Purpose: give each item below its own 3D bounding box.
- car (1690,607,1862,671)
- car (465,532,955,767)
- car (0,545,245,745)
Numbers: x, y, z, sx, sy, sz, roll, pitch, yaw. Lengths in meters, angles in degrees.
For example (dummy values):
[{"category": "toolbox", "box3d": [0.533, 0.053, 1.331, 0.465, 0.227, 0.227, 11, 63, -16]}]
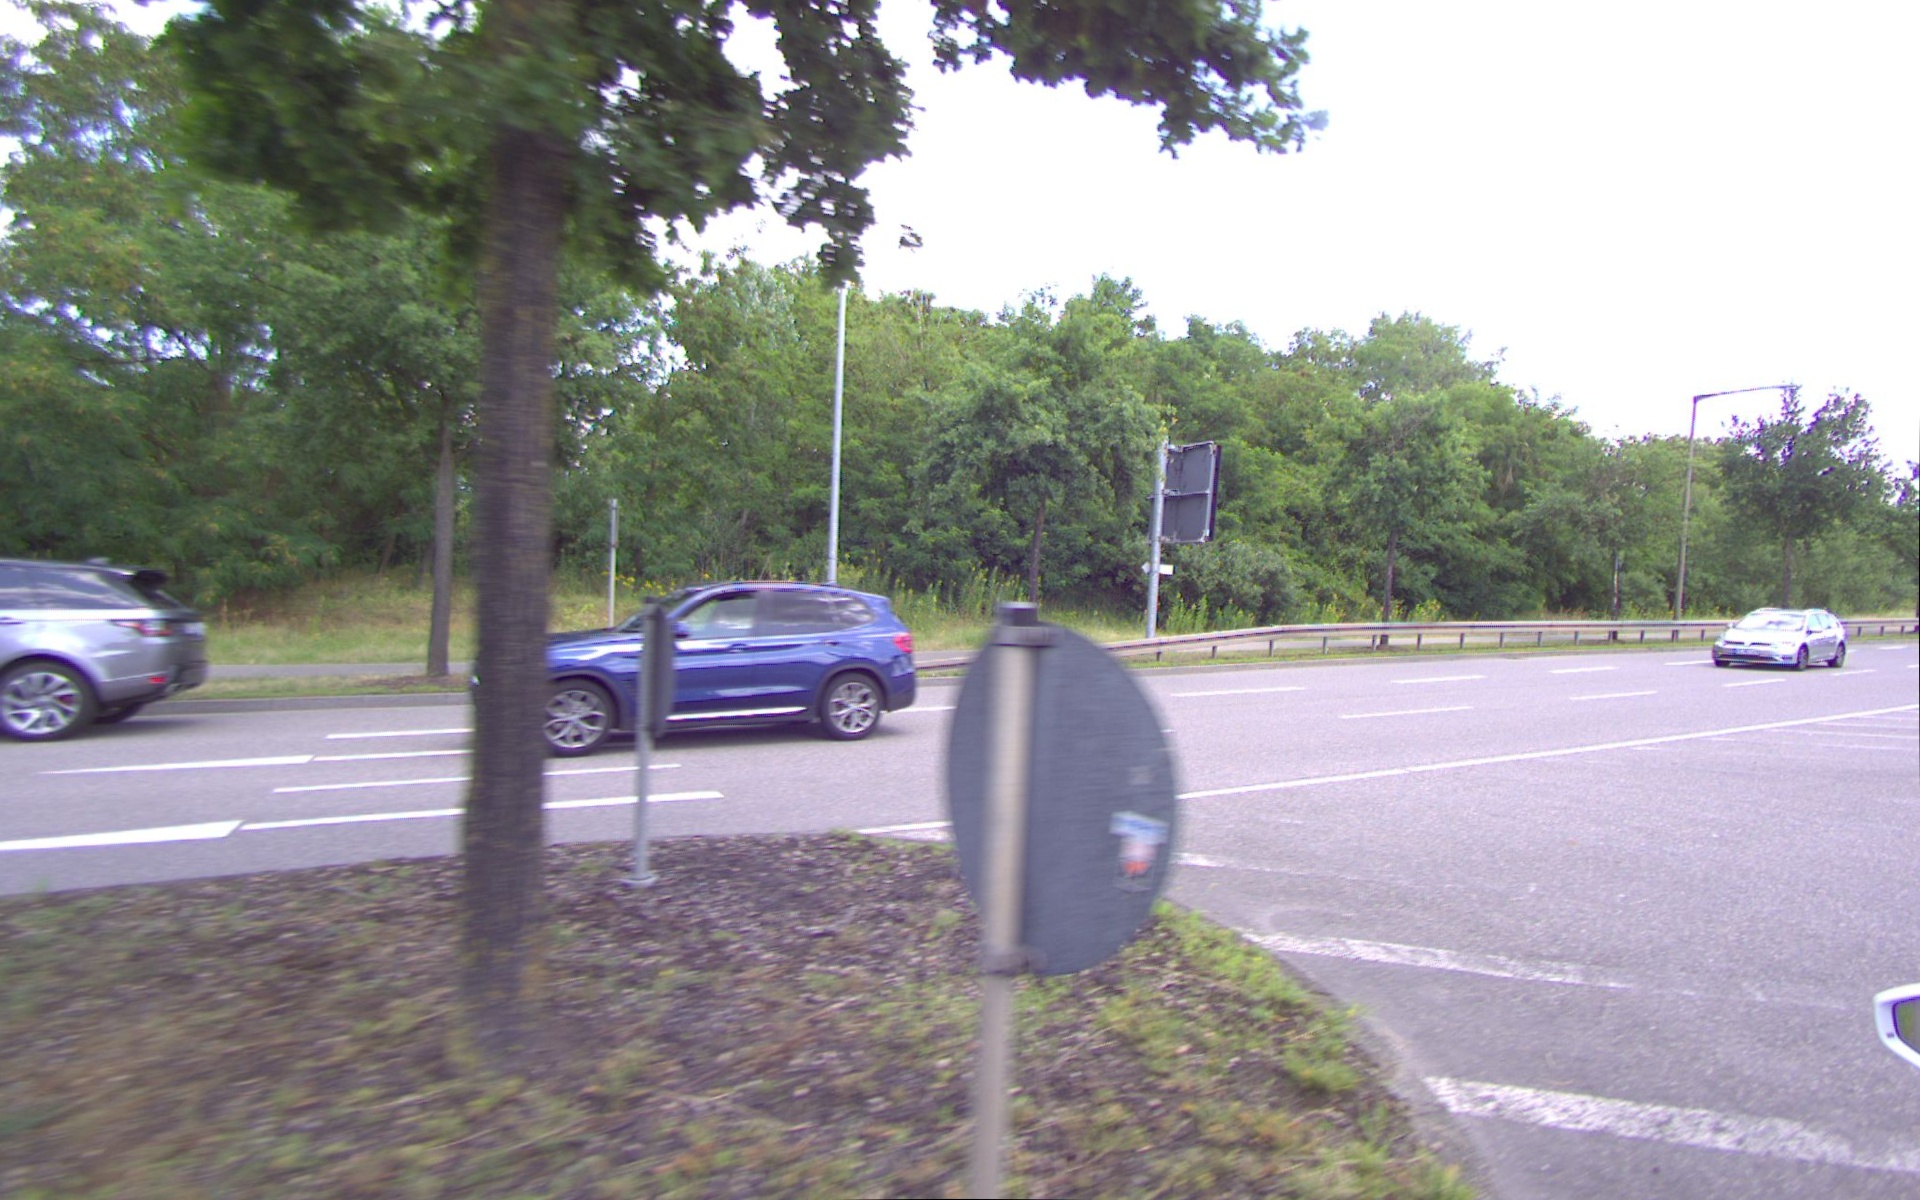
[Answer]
[{"category": "car", "box3d": [20.704, 0.927, 25.449, 4.647, 1.415, 1.982, 0, 1, -32]}, {"category": "car", "box3d": [-2.609, 0.404, 10.761, 4.759, 2.041, 1.984, 0, 2, -29]}, {"category": "car", "box3d": [-10.208, 0.371, 10.034, 4.653, 1.886, 1.986, 2, 1, -27]}]
